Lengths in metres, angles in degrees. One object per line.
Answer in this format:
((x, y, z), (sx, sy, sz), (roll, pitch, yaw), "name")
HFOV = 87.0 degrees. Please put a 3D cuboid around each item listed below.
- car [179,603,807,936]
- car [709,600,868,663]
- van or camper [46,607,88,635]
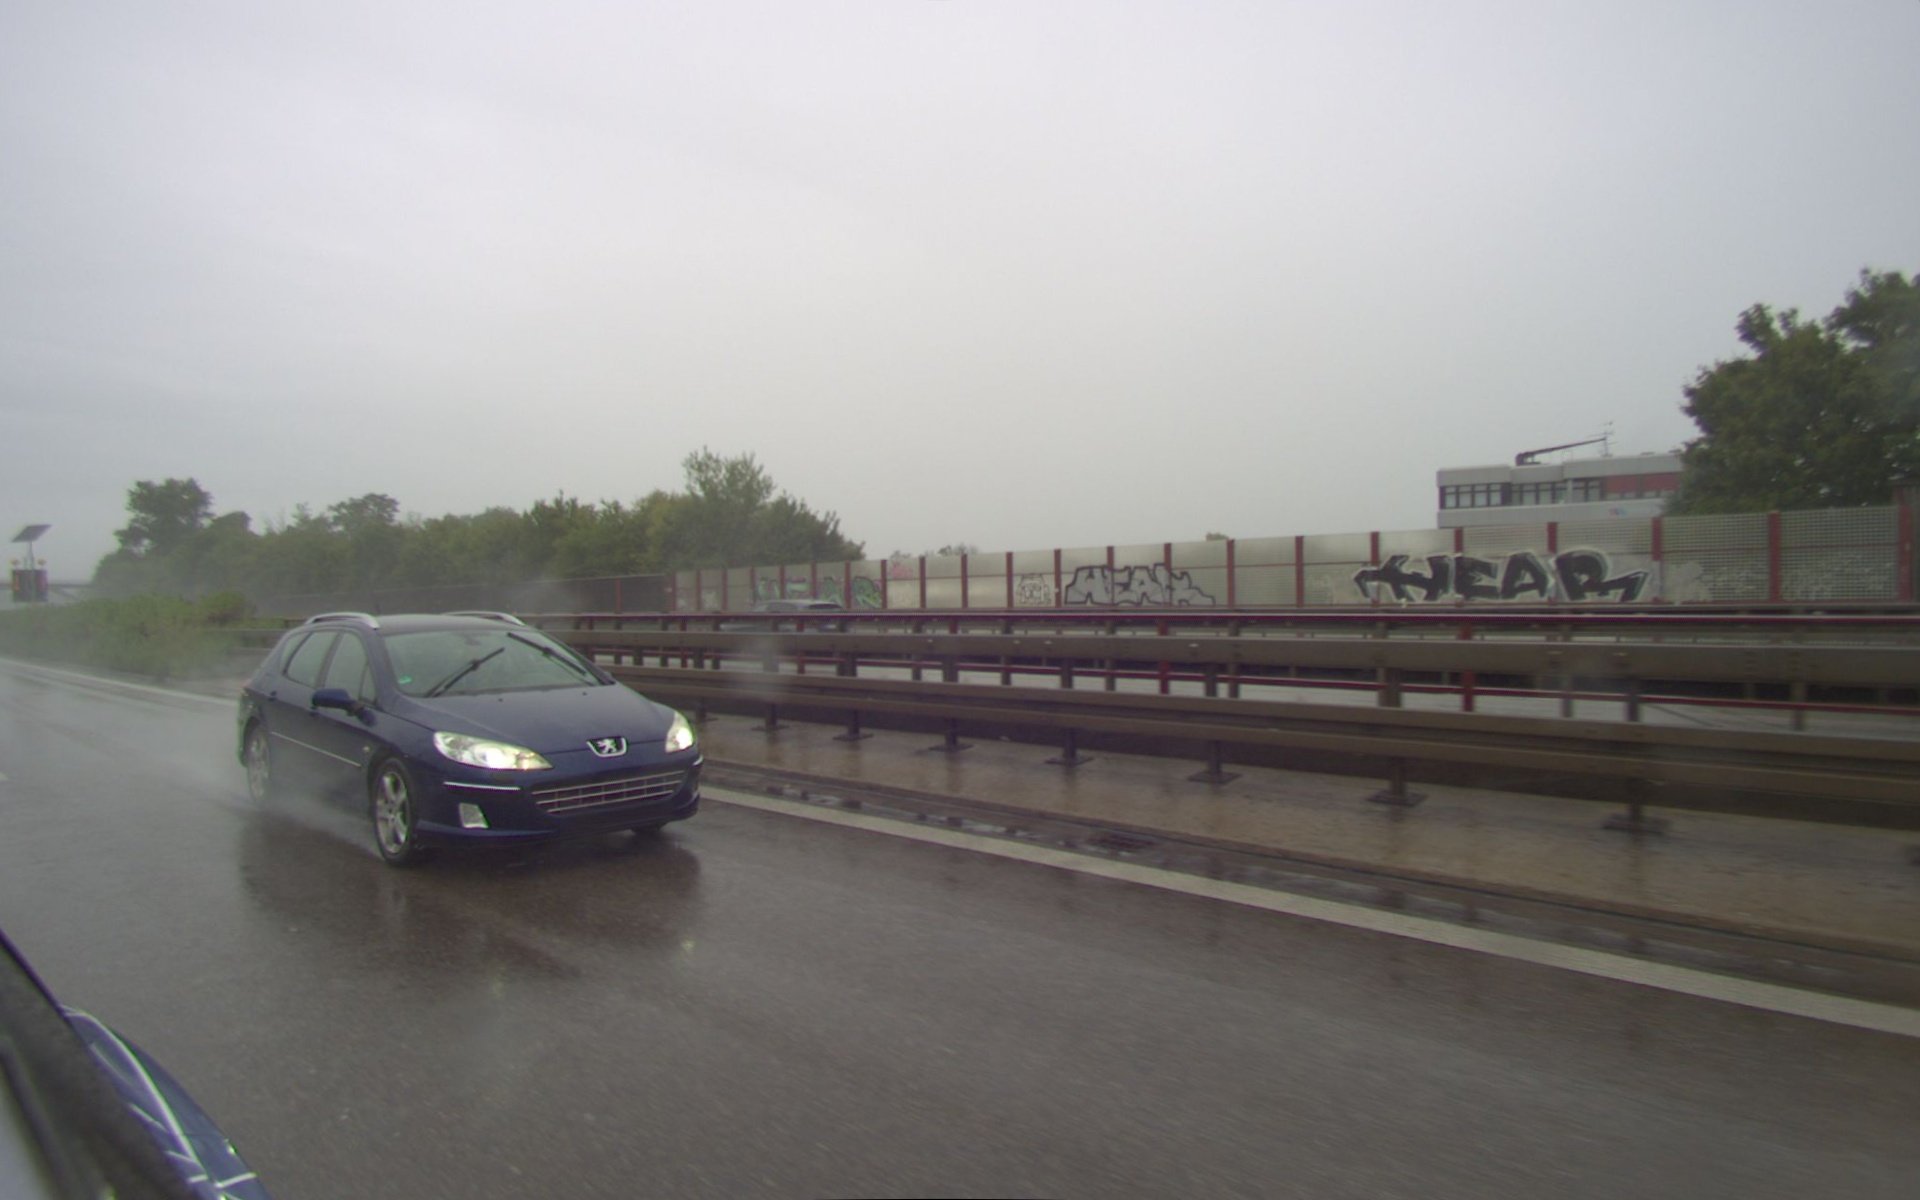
((-3.548, 0.824, 7.074), (5.154, 1.496, 2.033), (-1, -1, 41), "car")
((-4.300, 0.754, 25.073), (3.918, 1.395, 1.820), (-1, 0, 42), "car")
((-72.651, 1.709, 82.285), (4.945, 2.172, 1.972), (-1, -1, 42), "van or camper")
